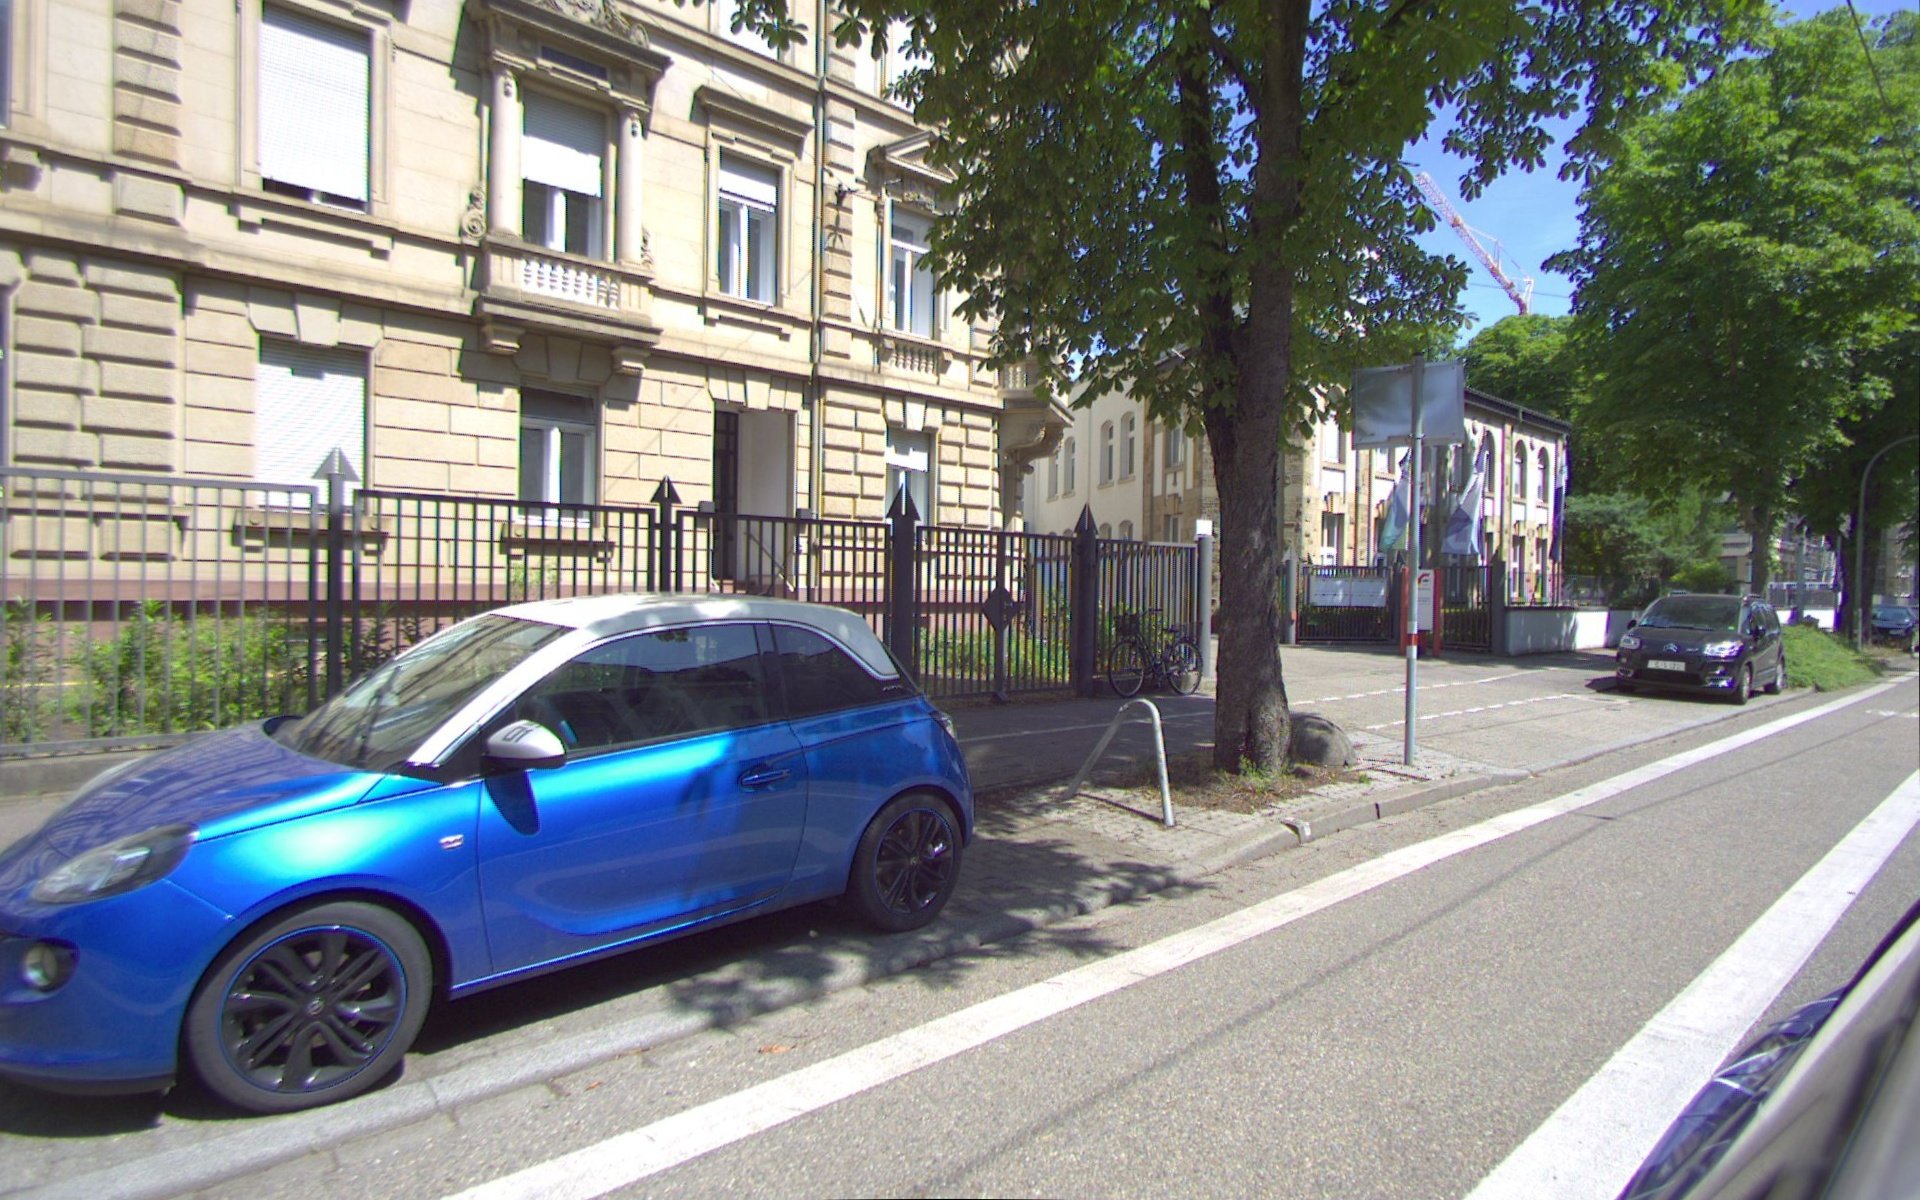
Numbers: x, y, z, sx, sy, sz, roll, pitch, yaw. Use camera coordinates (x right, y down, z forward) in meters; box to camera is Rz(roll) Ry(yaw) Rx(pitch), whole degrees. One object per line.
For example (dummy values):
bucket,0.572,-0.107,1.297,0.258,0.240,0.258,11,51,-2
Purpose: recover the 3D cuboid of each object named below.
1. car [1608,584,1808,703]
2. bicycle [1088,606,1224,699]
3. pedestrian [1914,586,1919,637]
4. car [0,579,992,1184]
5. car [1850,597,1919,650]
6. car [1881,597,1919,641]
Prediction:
car,12.266,0.616,16.505,4.012,1.636,1.733,0,3,-41
bicycle,2.537,0.633,12.985,1.945,1.084,0.609,0,1,-39
pedestrian,35.731,0.443,37.198,0.724,1.873,0.648,1,1,-14
car,-1.681,0.675,4.222,3.414,1.471,1.693,0,1,-42
car,28.334,0.669,30.603,3.756,1.420,1.625,0,3,-41
car,33.331,0.648,35.069,3.930,1.420,1.625,0,3,-41
